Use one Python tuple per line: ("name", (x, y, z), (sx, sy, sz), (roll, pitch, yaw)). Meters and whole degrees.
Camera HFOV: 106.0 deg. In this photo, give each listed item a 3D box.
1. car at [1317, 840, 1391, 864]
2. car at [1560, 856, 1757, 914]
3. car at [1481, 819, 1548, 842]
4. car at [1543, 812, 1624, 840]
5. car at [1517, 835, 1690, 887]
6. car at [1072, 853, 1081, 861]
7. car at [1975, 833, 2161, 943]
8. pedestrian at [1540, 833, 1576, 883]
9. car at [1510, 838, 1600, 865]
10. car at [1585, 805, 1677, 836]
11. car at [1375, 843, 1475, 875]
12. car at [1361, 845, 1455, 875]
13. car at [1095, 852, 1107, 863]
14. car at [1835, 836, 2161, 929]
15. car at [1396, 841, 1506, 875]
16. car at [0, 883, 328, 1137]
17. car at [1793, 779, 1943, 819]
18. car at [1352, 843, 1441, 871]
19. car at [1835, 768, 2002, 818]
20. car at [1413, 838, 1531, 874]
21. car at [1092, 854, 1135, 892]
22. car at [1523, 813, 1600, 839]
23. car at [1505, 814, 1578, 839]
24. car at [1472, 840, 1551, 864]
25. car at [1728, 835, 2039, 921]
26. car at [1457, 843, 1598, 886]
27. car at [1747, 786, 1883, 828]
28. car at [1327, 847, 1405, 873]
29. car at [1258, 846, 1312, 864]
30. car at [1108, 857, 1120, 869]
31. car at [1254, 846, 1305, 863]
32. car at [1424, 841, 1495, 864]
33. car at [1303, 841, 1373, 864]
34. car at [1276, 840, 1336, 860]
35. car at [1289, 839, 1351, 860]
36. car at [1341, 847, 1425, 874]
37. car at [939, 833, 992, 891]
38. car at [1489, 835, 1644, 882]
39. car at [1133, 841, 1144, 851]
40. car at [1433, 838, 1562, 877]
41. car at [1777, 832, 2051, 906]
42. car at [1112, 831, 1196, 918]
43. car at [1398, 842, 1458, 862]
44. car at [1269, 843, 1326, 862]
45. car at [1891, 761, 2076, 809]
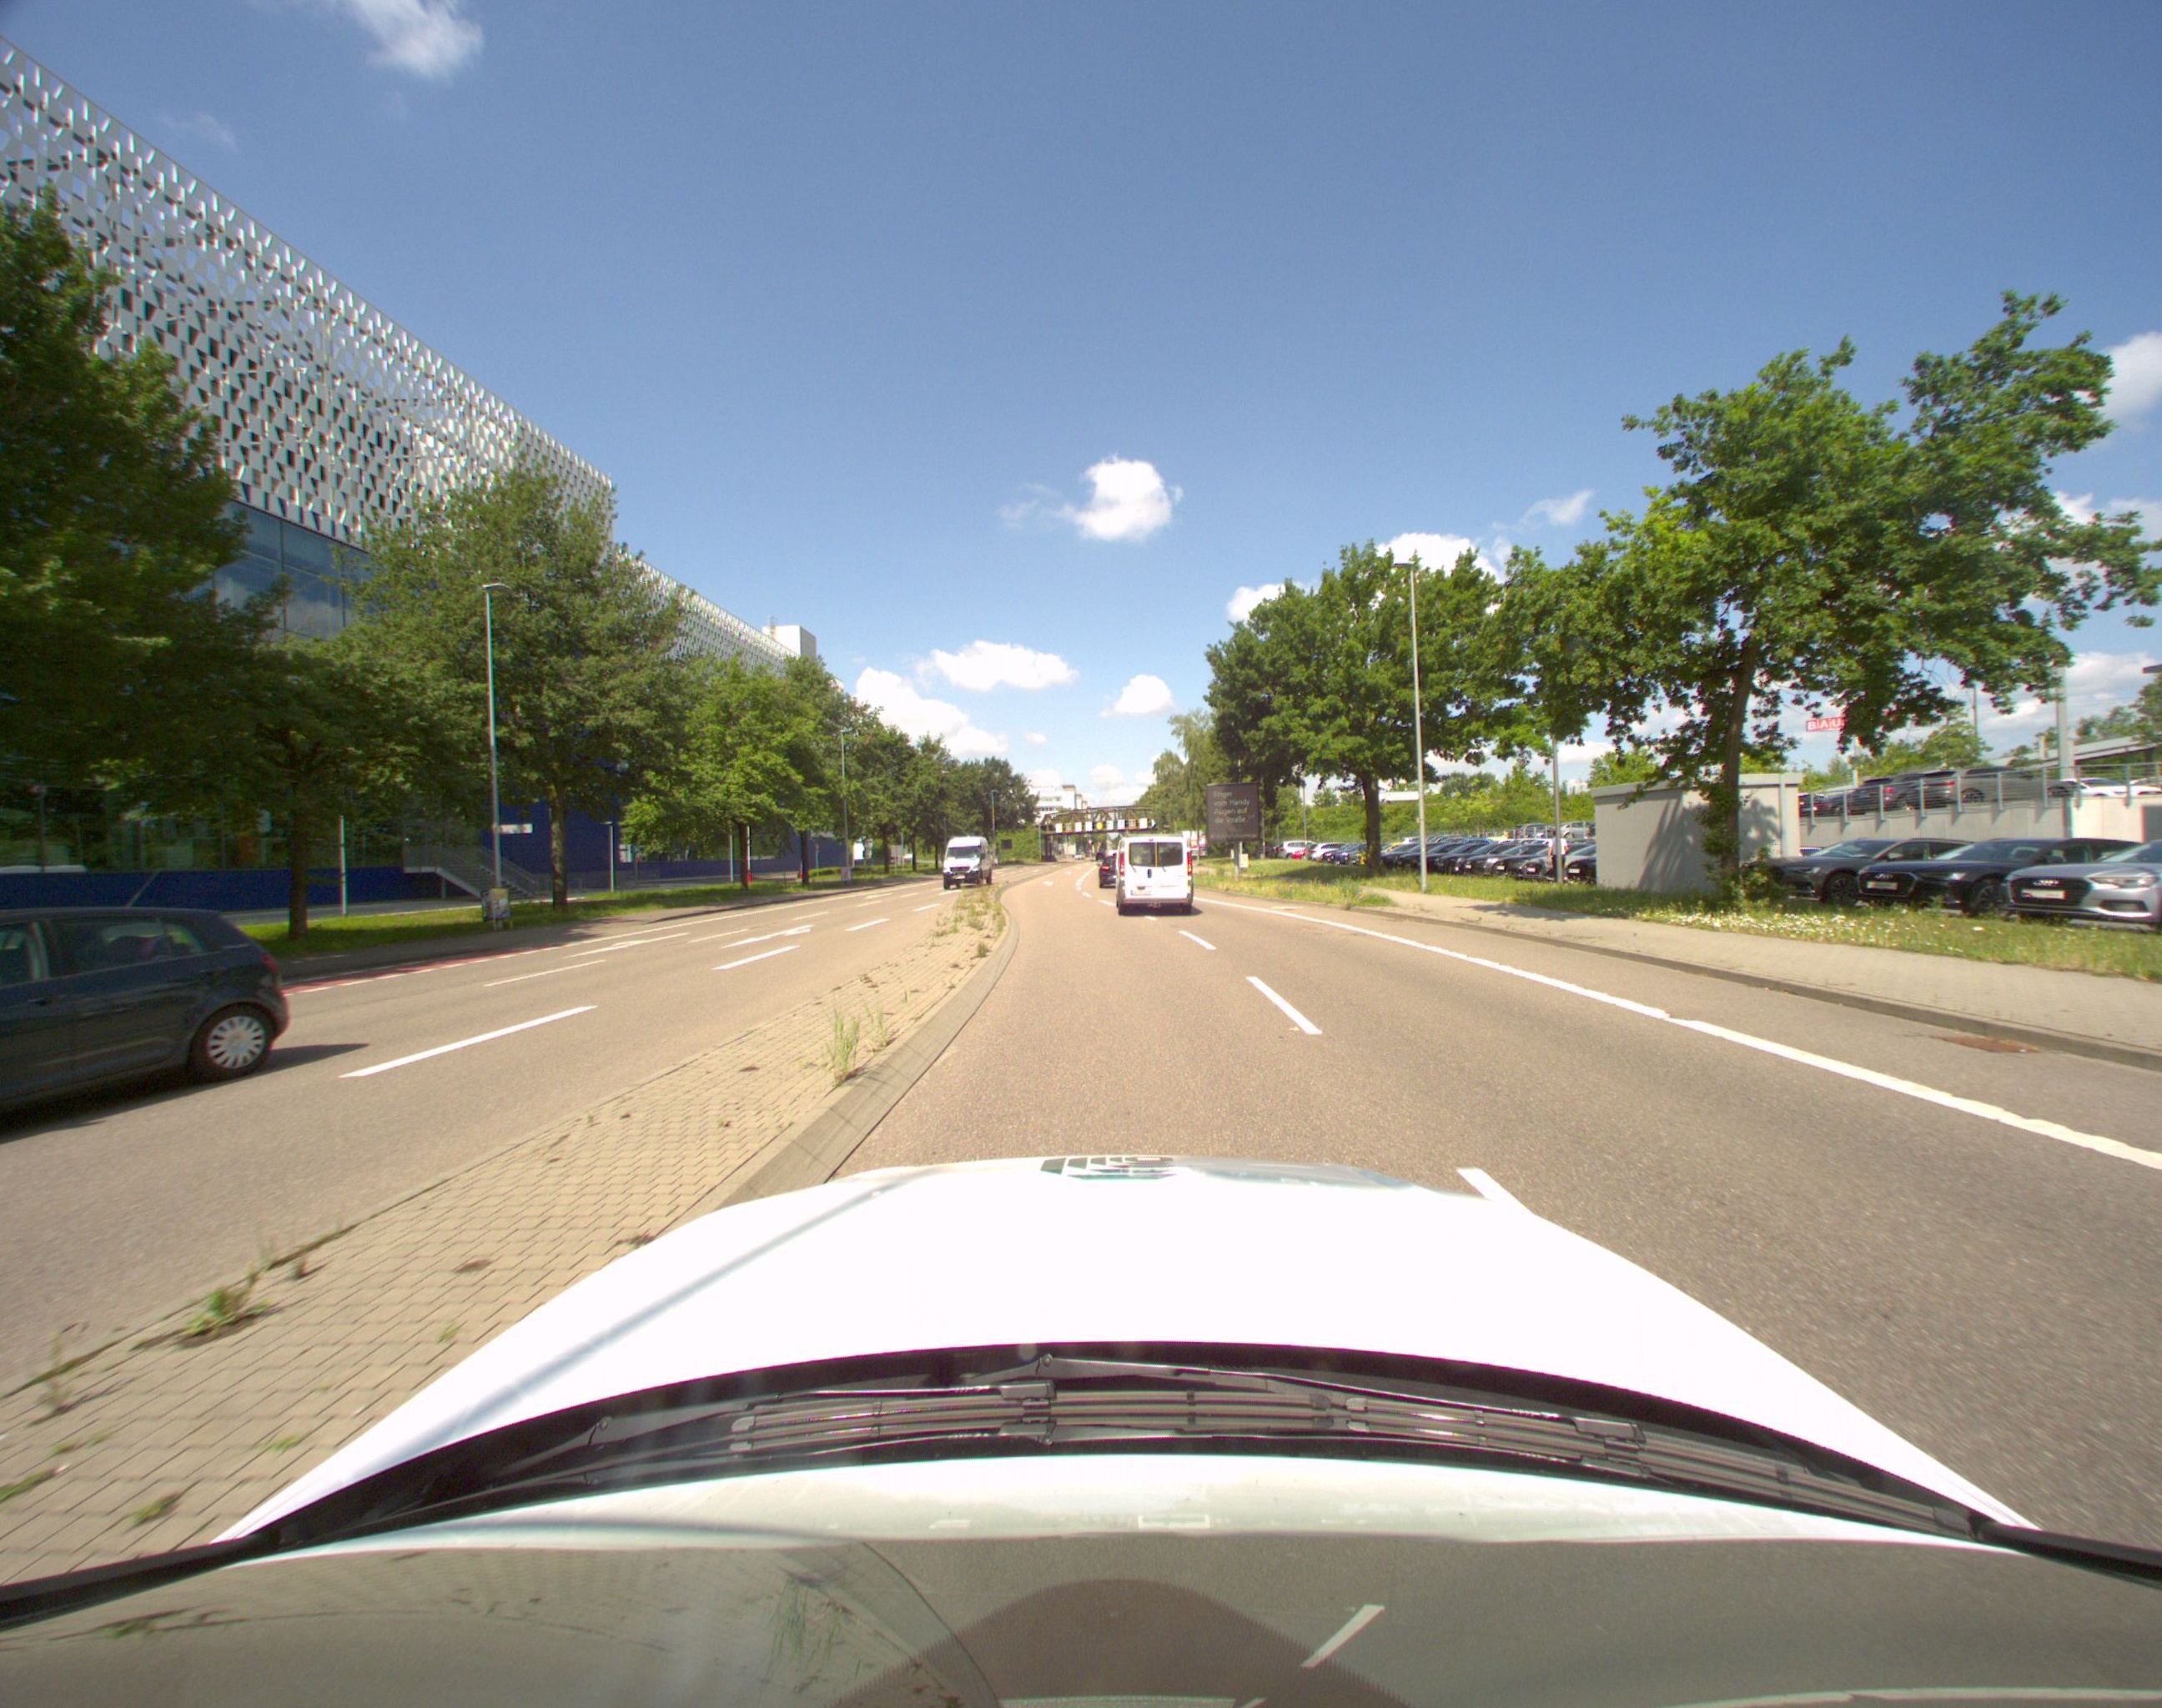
("car", (18.302, -0.133, 54.696), (4.339, 1.512, 1.937), (-1, 2, 1))
("car", (16.632, 0.873, 23.630), (4.336, 1.512, 1.913), (-1, 2, 3))
("car", (34.902, -1.914, 65.627), (4.333, 1.774, 1.939), (-1, 2, 5))
("car", (34.081, -1.887, 55.324), (4.333, 1.774, 1.939), (-1, 2, 5))
("car", (16.668, 0.197, 26.160), (4.339, 1.512, 1.937), (-1, 2, 1))
("car", (-1.076, 0.858, 211.601), (1.984, 2.013, 4.006), (-2, 0, 5))
("car", (15.728, 0.398, 11.509), (4.090, 1.404, 1.819), (-2, 0, 2))
("pedestrian", (14.127, 0.100, 24.126), (0.631, 1.459, 0.773), (-1, 1, 1))
("car", (28.842, -0.170, 49.684), (4.329, 1.499, 1.908), (-2, 0, 2))
("car", (33.675, -2.052, 49.967), (4.333, 1.774, 1.939), (-1, 2, 5))
("car", (17.568, 0.242, 41.686), (4.339, 1.512, 1.937), (-1, 2, 1))
("car", (17.633, 0.295, 44.077), (4.339, 1.512, 1.937), (-1, 2, 1))
("car", (3.730, 0.626, 149.133), (1.985, 1.771, 4.005), (-1, 2, 4))
("car", (15.780, 0.443, 13.860), (4.089, 1.445, 1.857), (-1, 0, 3))
("car", (17.422, 0.175, 38.508), (4.339, 1.512, 1.937), (-1, 2, 1))
("car", (-8.106, 1.157, 5.604), (1.732, 1.610, 4.241), (-5, 0, 0))
("car", (33.261, -2.300, 34.543), (4.333, 1.551, 1.939), (-1, 2, 5))
("car", (17.954, 0.158, 46.478), (4.339, 1.512, 1.937), (-1, 2, 1))
("car", (32.598, -2.346, 31.799), (4.333, 1.774, 1.939), (-1, 2, 5))
("car", (17.294, 0.068, 36.187), (4.339, 1.512, 1.937), (-1, 2, 1))
("car", (1.530, 0.869, 39.346), (1.769, 1.629, 3.998), (-1, 1, -1))
("car", (34.159, -1.968, 57.933), (4.333, 1.774, 1.939), (-1, 2, 5))
("car", (34.236, -2.029, 60.645), (4.333, 1.774, 1.939), (-1, 2, 5))
("car", (29.022, -0.128, 54.971), (4.329, 1.499, 1.908), (-2, 0, 2))
("car", (16.037, 0.456, 16.471), (4.336, 1.513, 1.857), (-2, 0, 3))
("car", (17.005, 0.367, 31.156), (4.339, 1.512, 1.937), (-1, 2, 1))
("car", (33.368, -2.115, 37.128), (4.333, 1.774, 1.939), (-1, 2, 5))
("car", (18.026, 0.389, 51.646), (4.339, 1.512, 1.937), (-1, 2, 1))
("car", (18.135, 0.069, 72.561), (4.339, 1.512, 1.937), (-1, 2, 1))
("car", (5.640, 1.508, 137.839), (1.985, 2.013, 4.003), (-2, 0, 3))
("car", (18.623, 0.062, 76.375), (4.339, 1.512, 1.937), (-1, 2, 1))
("car", (27.738, -0.100, 59.784), (4.329, 1.499, 1.908), (-2, 0, 2))
("car", (18.028, -0.117, 57.313), (4.339, 1.512, 1.937), (-1, 2, 1))
("car", (18.123, -0.301, 65.719), (4.339, 1.512, 1.937), (-1, 2, 1))
("car", (18.516, -0.340, 63.248), (4.339, 1.512, 1.937), (-1, 2, 1))
("car", (18.093, 0.384, 48.900), (4.339, 1.512, 1.937), (-1, 2, 1))
("car", (-6.224, 0.438, 44.593), (2.017, 2.893, 6.378), (-2, 0, -1))
("car", (16.954, 0.136, 28.596), (4.339, 1.512, 1.937), (-1, 2, 1))
("car", (15.574, -2.132, 220.636), (2.365, 2.475, 4.772), (-2, 0, 8))
("car", (17.122, 0.116, 33.615), (4.339, 1.512, 1.937), (-1, 2, 1))
("car", (19.204, 0.332, 18.952), (4.336, 1.513, 1.857), (-2, 0, 3))
("car", (1.860, 0.456, 22.031), (1.965, 2.059, 4.567), (-1, 1, 2))
("car", (29.874, -0.170, 70.158), (4.329, 1.499, 1.908), (-2, 0, 2))
("car", (18.136, -0.112, 68.305), (4.339, 1.512, 1.937), (-1, 2, 1))
("car", (32.464, -2.460, 29.412), (4.333, 1.551, 1.939), (-1, 2, 5))
